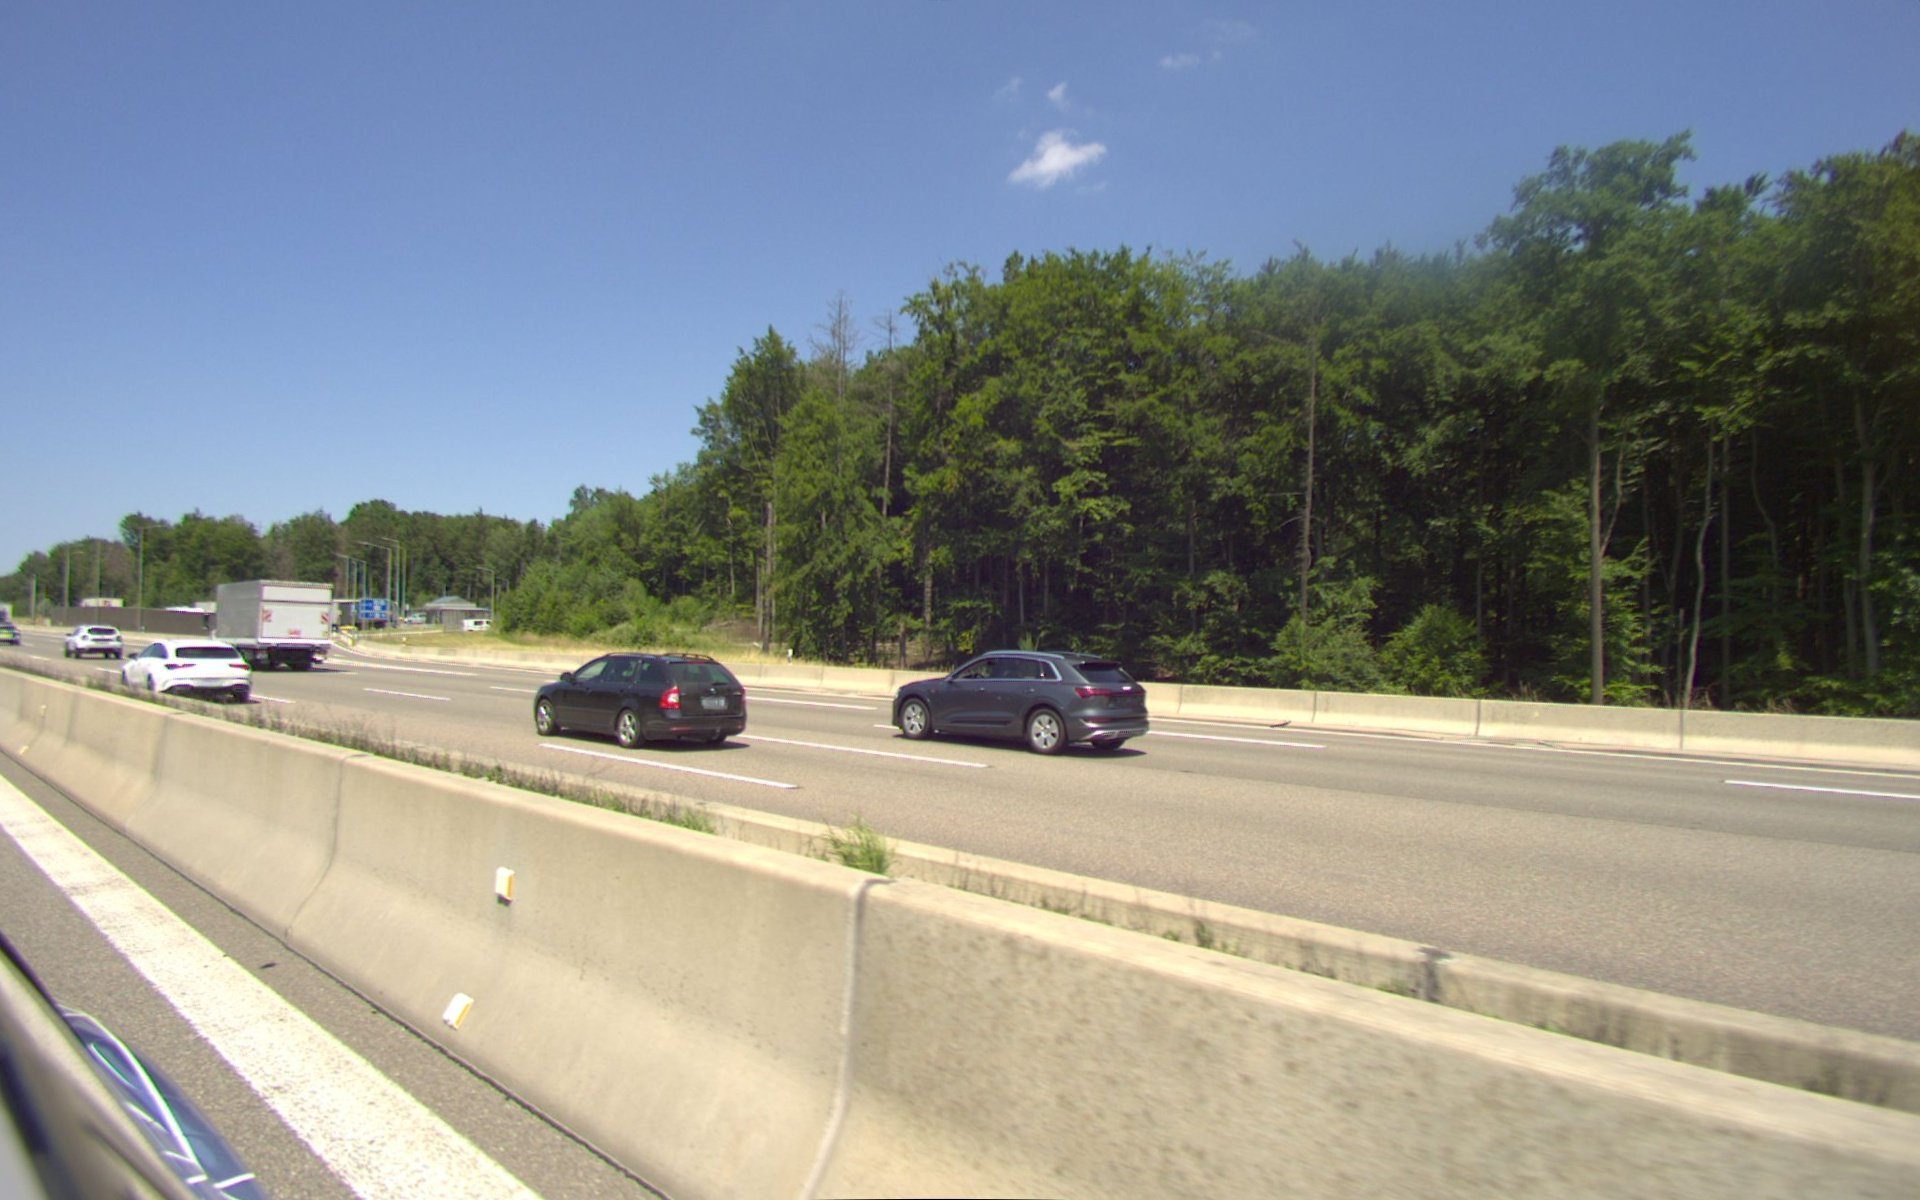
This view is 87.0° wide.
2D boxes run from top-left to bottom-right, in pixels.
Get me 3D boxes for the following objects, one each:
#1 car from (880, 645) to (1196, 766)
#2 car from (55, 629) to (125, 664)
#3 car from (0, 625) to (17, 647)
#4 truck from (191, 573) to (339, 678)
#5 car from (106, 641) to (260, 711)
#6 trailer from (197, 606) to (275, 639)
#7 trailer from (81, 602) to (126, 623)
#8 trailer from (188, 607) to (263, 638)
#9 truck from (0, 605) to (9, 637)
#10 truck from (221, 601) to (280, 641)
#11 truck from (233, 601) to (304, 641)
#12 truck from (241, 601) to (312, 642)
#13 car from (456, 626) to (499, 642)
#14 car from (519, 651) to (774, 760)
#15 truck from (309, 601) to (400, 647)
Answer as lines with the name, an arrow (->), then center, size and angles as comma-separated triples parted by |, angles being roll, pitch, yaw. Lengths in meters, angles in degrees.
car -> 1.177, 1.647, 17.131 | 5.186, 1.687, 2.025 | -1, -3, 41
car -> -43.406, 2.295, 50.466 | 4.686, 1.674, 1.893 | -1, -4, 41
car -> -68.807, 2.554, 72.037 | 5.229, 1.524, 1.893 | -1, -4, 41
truck -> -29.773, 1.085, 43.151 | 9.463, 4.043, 2.828 | -1, -3, 41
car -> -17.864, 1.675, 23.206 | 4.460, 1.405, 1.806 | -1, -3, 39
trailer -> -117.328, 3.749, 164.414 | 3.175, 5.111, 14.580 | 1, -2, -5
trailer -> -131.941, 1.951, 155.810 | 14.602, 3.148, 2.941 | -1, -3, 41
trailer -> -125.059, 3.920, 172.667 | 3.082, 5.111, 14.580 | 1, -2, -5
truck -> -134.092, 2.865, 139.769 | 10.591, 4.229, 2.805 | -1, -3, 41
truck -> -105.911, 3.184, 151.279 | 3.179, 5.656, 8.497 | 1, -2, -5
truck -> -102.429, 3.207, 150.194 | 3.179, 5.655, 11.549 | 1, -2, -5
truck -> -98.560, 3.129, 146.249 | 3.179, 5.655, 11.549 | 1, -2, -5
car -> -62.026, 4.414, 130.019 | 4.663, 2.029, 2.091 | 2, -3, -35
car -> -5.147, 1.589, 16.285 | 4.610, 1.438, 1.685 | -1, -4, 40
truck -> -80.299, 3.318, 134.807 | 3.175, 5.655, 16.725 | 1, -2, -4
